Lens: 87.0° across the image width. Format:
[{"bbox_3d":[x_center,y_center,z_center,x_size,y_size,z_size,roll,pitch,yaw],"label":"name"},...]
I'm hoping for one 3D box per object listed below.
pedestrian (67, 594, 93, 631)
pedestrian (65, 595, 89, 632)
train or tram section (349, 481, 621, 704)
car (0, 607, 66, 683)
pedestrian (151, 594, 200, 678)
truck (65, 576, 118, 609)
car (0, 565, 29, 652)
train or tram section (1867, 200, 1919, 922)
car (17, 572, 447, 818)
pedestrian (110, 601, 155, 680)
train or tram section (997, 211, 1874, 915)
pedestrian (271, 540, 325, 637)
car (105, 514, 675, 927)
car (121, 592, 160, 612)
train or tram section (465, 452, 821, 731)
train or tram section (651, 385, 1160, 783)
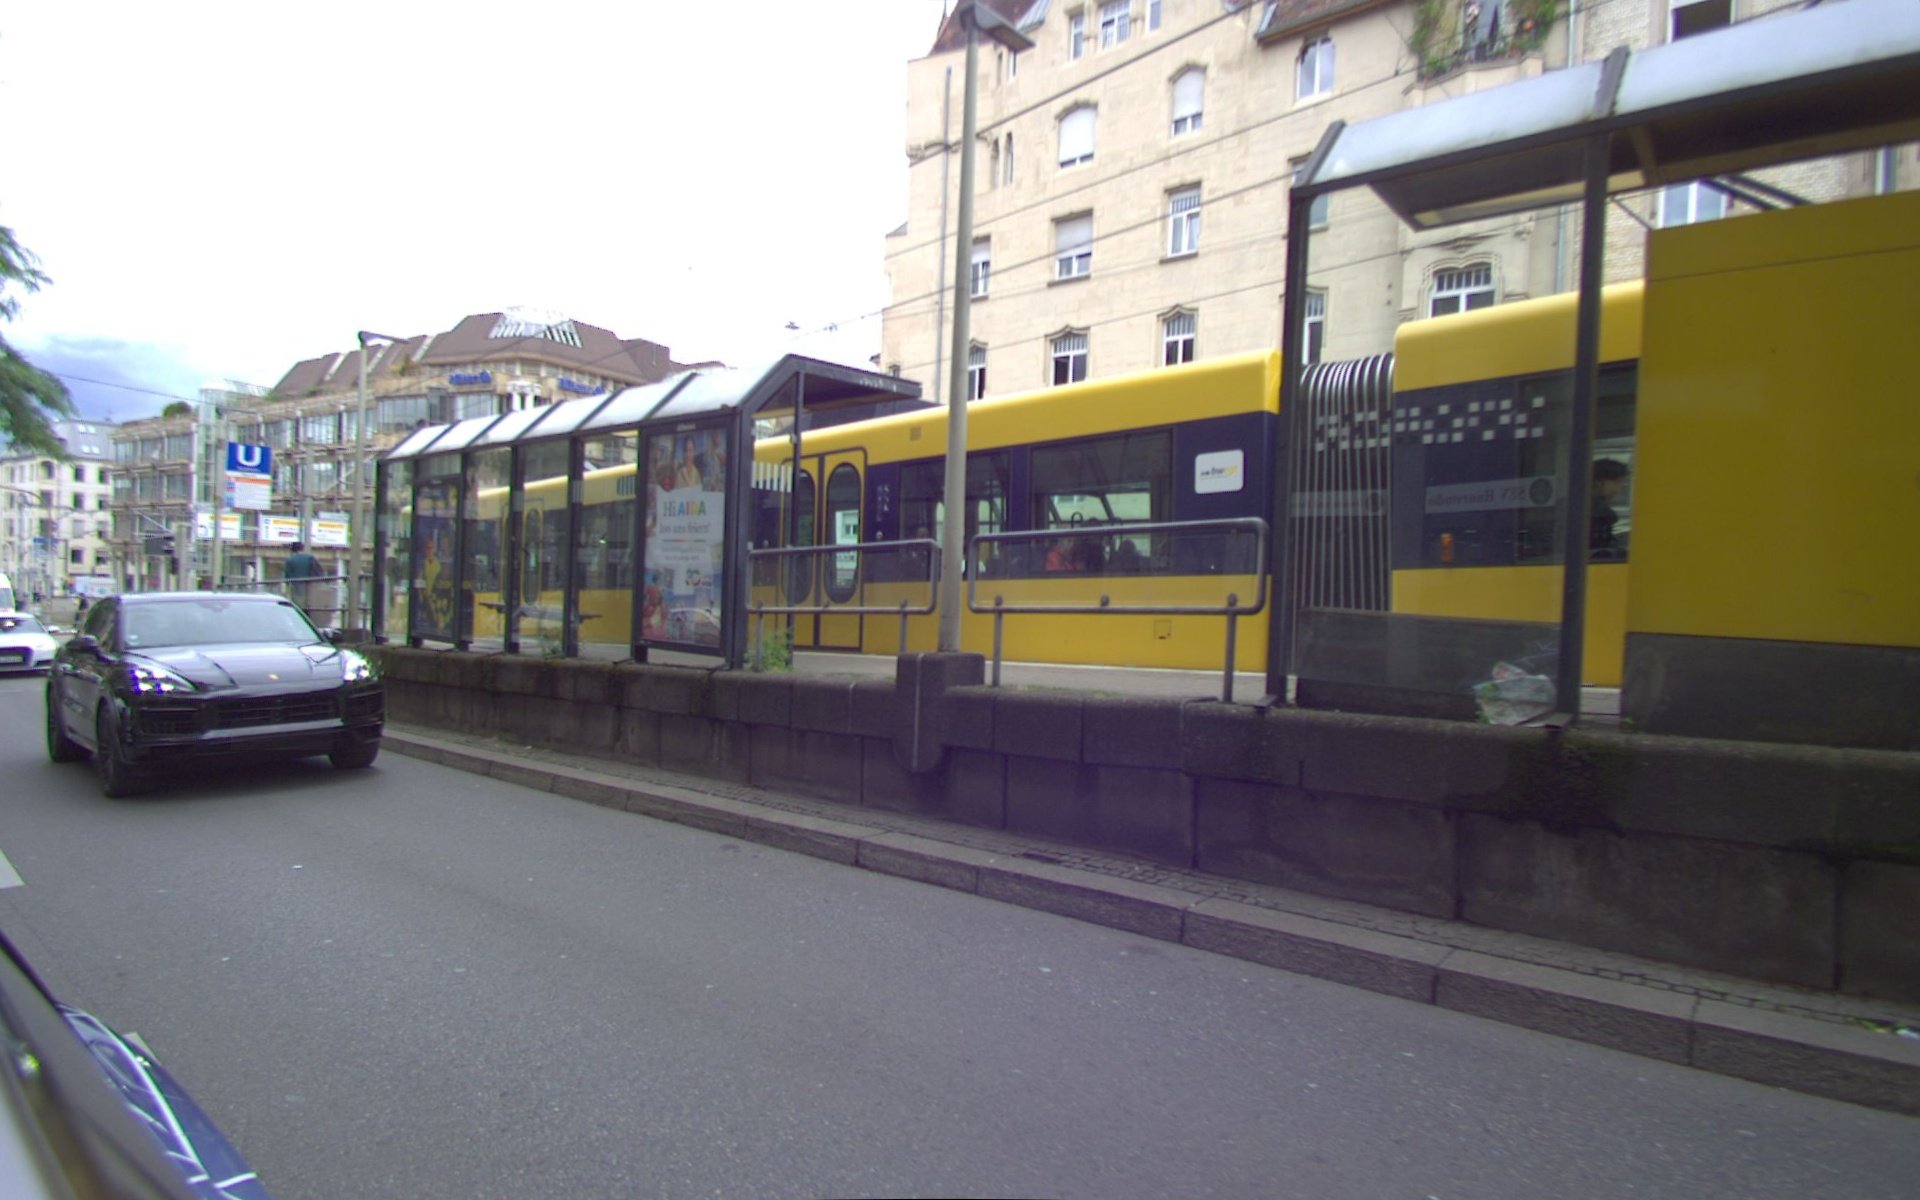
[{"bbox_3d":[-41.030,0.578,47.194,0.772,1.734,0.783,0,0,41],"label":"pedestrian"},{"bbox_3d":[-41.618,0.626,47.719,0.637,1.734,0.756,0,0,41],"label":"pedestrian"},{"bbox_3d":[-9.390,-0.130,19.742,5.750,3.706,2.805,0,0,42],"label":"train or tram section"},{"bbox_3d":[-22.137,0.990,23.121,3.996,1.541,1.926,1,1,39],"label":"car"},{"bbox_3d":[-16.430,0.740,21.192,0.711,1.724,0.678,-1,-1,41],"label":"pedestrian"},{"bbox_3d":[-89.067,-0.777,103.759,7.358,3.099,2.247,1,-2,35],"label":"truck"},{"bbox_3d":[-33.302,0.241,34.056,5.937,2.780,2.252,1,1,41],"label":"car"},{"bbox_3d":[7.650,-0.205,4.202,5.750,3.547,2.805,0,0,42],"label":"train or tram section"},{"bbox_3d":[-7.012,0.672,9.471,5.348,1.688,2.062,-1,0,41],"label":"car"},{"bbox_3d":[-18.565,0.890,22.699,0.871,1.724,0.628,-1,-1,41],"label":"pedestrian"},{"bbox_3d":[3.393,-0.192,8.081,5.750,3.547,2.805,0,0,42],"label":"train or tram section"},{"bbox_3d":[-12.312,-0.214,18.820,0.671,1.743,0.710,1,1,43],"label":"pedestrian"},{"bbox_3d":[-4.538,0.544,7.601,5.149,2.029,2.339,1,1,44],"label":"car"},{"bbox_3d":[-76.770,0.204,94.770,4.771,1.772,1.659,1,1,35],"label":"car"},{"bbox_3d":[-5.122,-0.117,15.865,5.750,3.547,2.805,0,0,42],"label":"train or tram section"},{"bbox_3d":[-0.867,-0.149,11.991,5.750,3.547,2.805,0,0,42],"label":"train or tram section"}]
